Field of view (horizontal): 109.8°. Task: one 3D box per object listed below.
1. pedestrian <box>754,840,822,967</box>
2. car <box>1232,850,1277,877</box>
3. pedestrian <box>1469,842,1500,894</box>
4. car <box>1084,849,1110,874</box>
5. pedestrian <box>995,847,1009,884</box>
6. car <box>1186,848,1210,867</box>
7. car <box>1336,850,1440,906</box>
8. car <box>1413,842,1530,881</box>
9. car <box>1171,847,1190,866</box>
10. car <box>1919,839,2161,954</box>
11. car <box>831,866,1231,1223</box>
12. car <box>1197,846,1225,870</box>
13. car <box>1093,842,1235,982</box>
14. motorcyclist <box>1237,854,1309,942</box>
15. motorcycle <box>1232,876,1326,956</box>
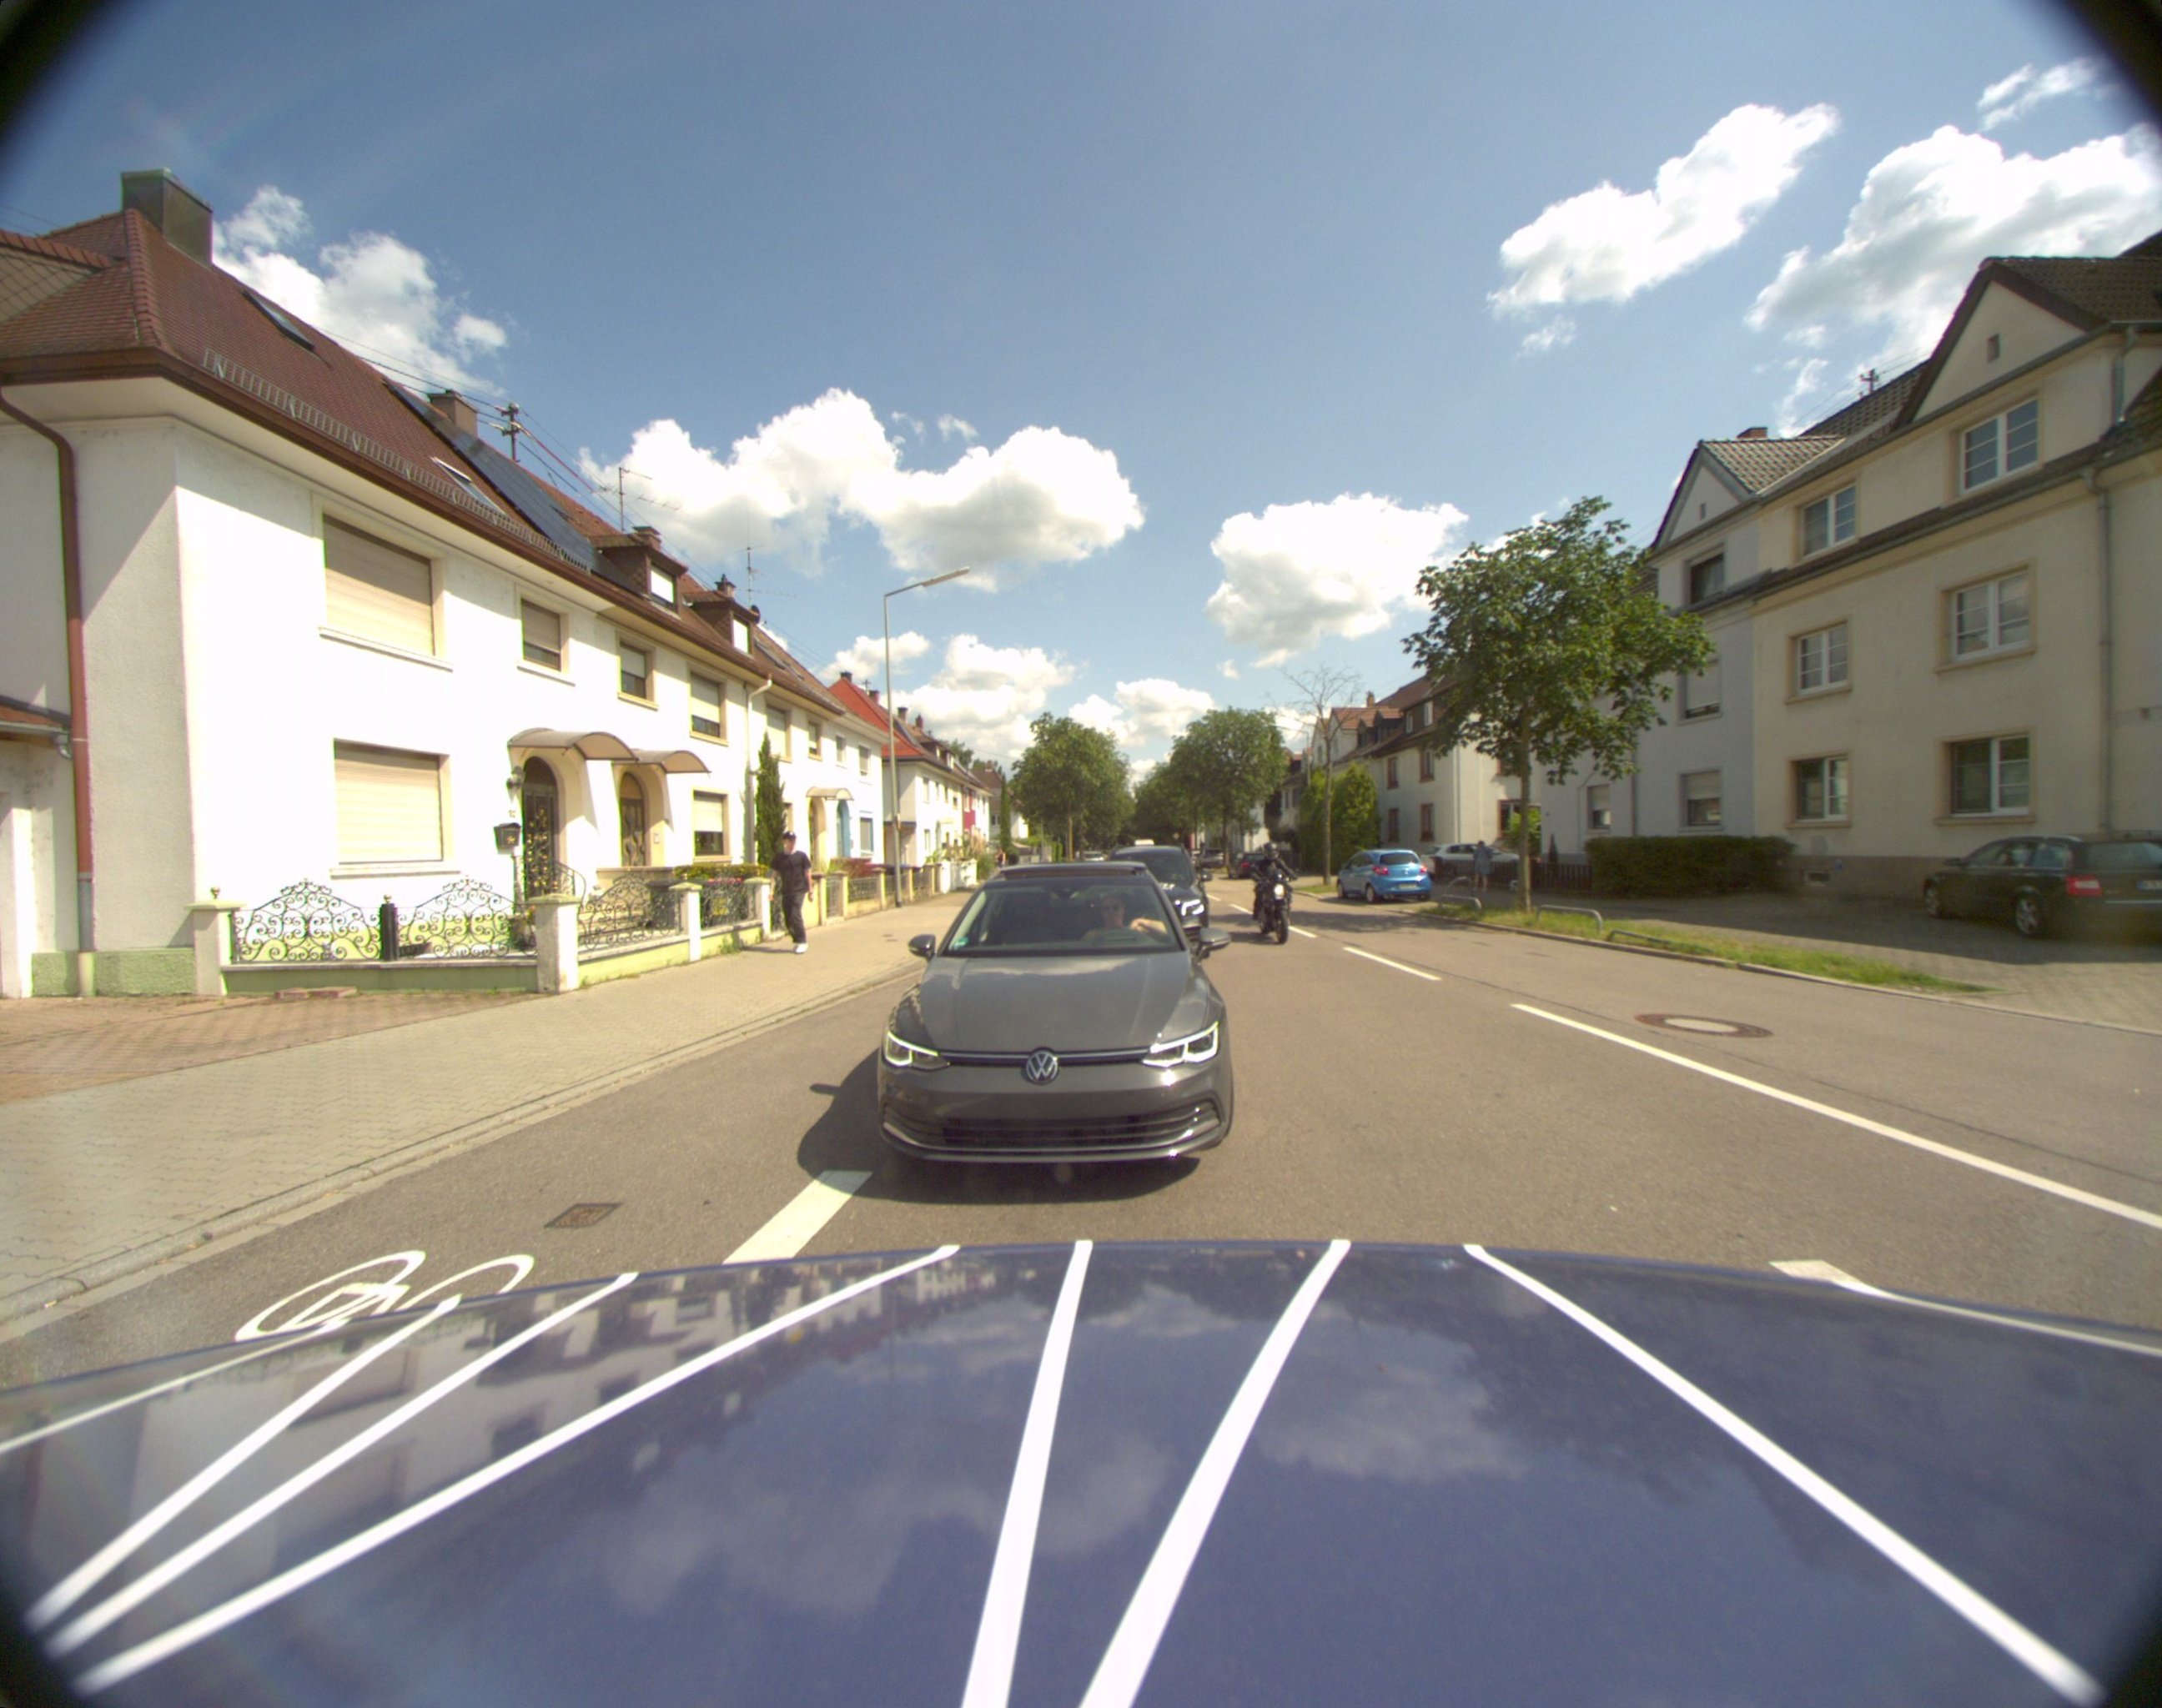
[{"bbox_3d":[-4.221,0.684,11.010,0.592,1.757,0.937,-1,1,1],"label":"pedestrian"},{"bbox_3d":[8.954,0.463,39.470,1.709,1.289,3.918,-1,0,4],"label":"car"},{"bbox_3d":[12.147,0.406,22.900,0.631,1.527,0.618,-1,1,8],"label":"pedestrian"},{"bbox_3d":[1.076,0.478,49.942,1.381,1.493,3.002,-2,0,6],"label":"car"},{"bbox_3d":[-3.658,0.519,35.194,0.519,1.701,0.618,-1,1,2],"label":"pedestrian"},{"bbox_3d":[9.130,0.274,59.438,1.623,1.417,3.002,-2,0,6],"label":"car"},{"bbox_3d":[8.624,0.623,21.634,1.709,1.454,3.154,-1,0,1],"label":"car"},{"bbox_3d":[15.634,0.287,30.562,3.805,1.446,1.711,-1,1,4],"label":"car"},{"bbox_3d":[8.942,0.220,68.480,1.562,1.645,3.252,-1,0,4],"label":"car"},{"bbox_3d":[14.241,0.498,10.974,1.757,1.378,4.110,-1,1,31],"label":"car"},{"bbox_3d":[-0.253,0.892,5.762,1.766,1.465,4.686,-1,0,-1],"label":"car"},{"bbox_3d":[9.121,0.256,53.412,1.562,1.645,3.574,-1,0,4],"label":"car"},{"bbox_3d":[1.112,0.721,12.092,1.776,1.754,4.874,-1,0,1],"label":"car"},{"bbox_3d":[3.220,0.729,12.854,0.825,1.390,1.100,-3,-2,-3],"label":"motorcyclist"},{"bbox_3d":[3.241,0.980,12.711,0.843,1.121,2.358,-1,0,-3],"label":"motorcycle"}]
